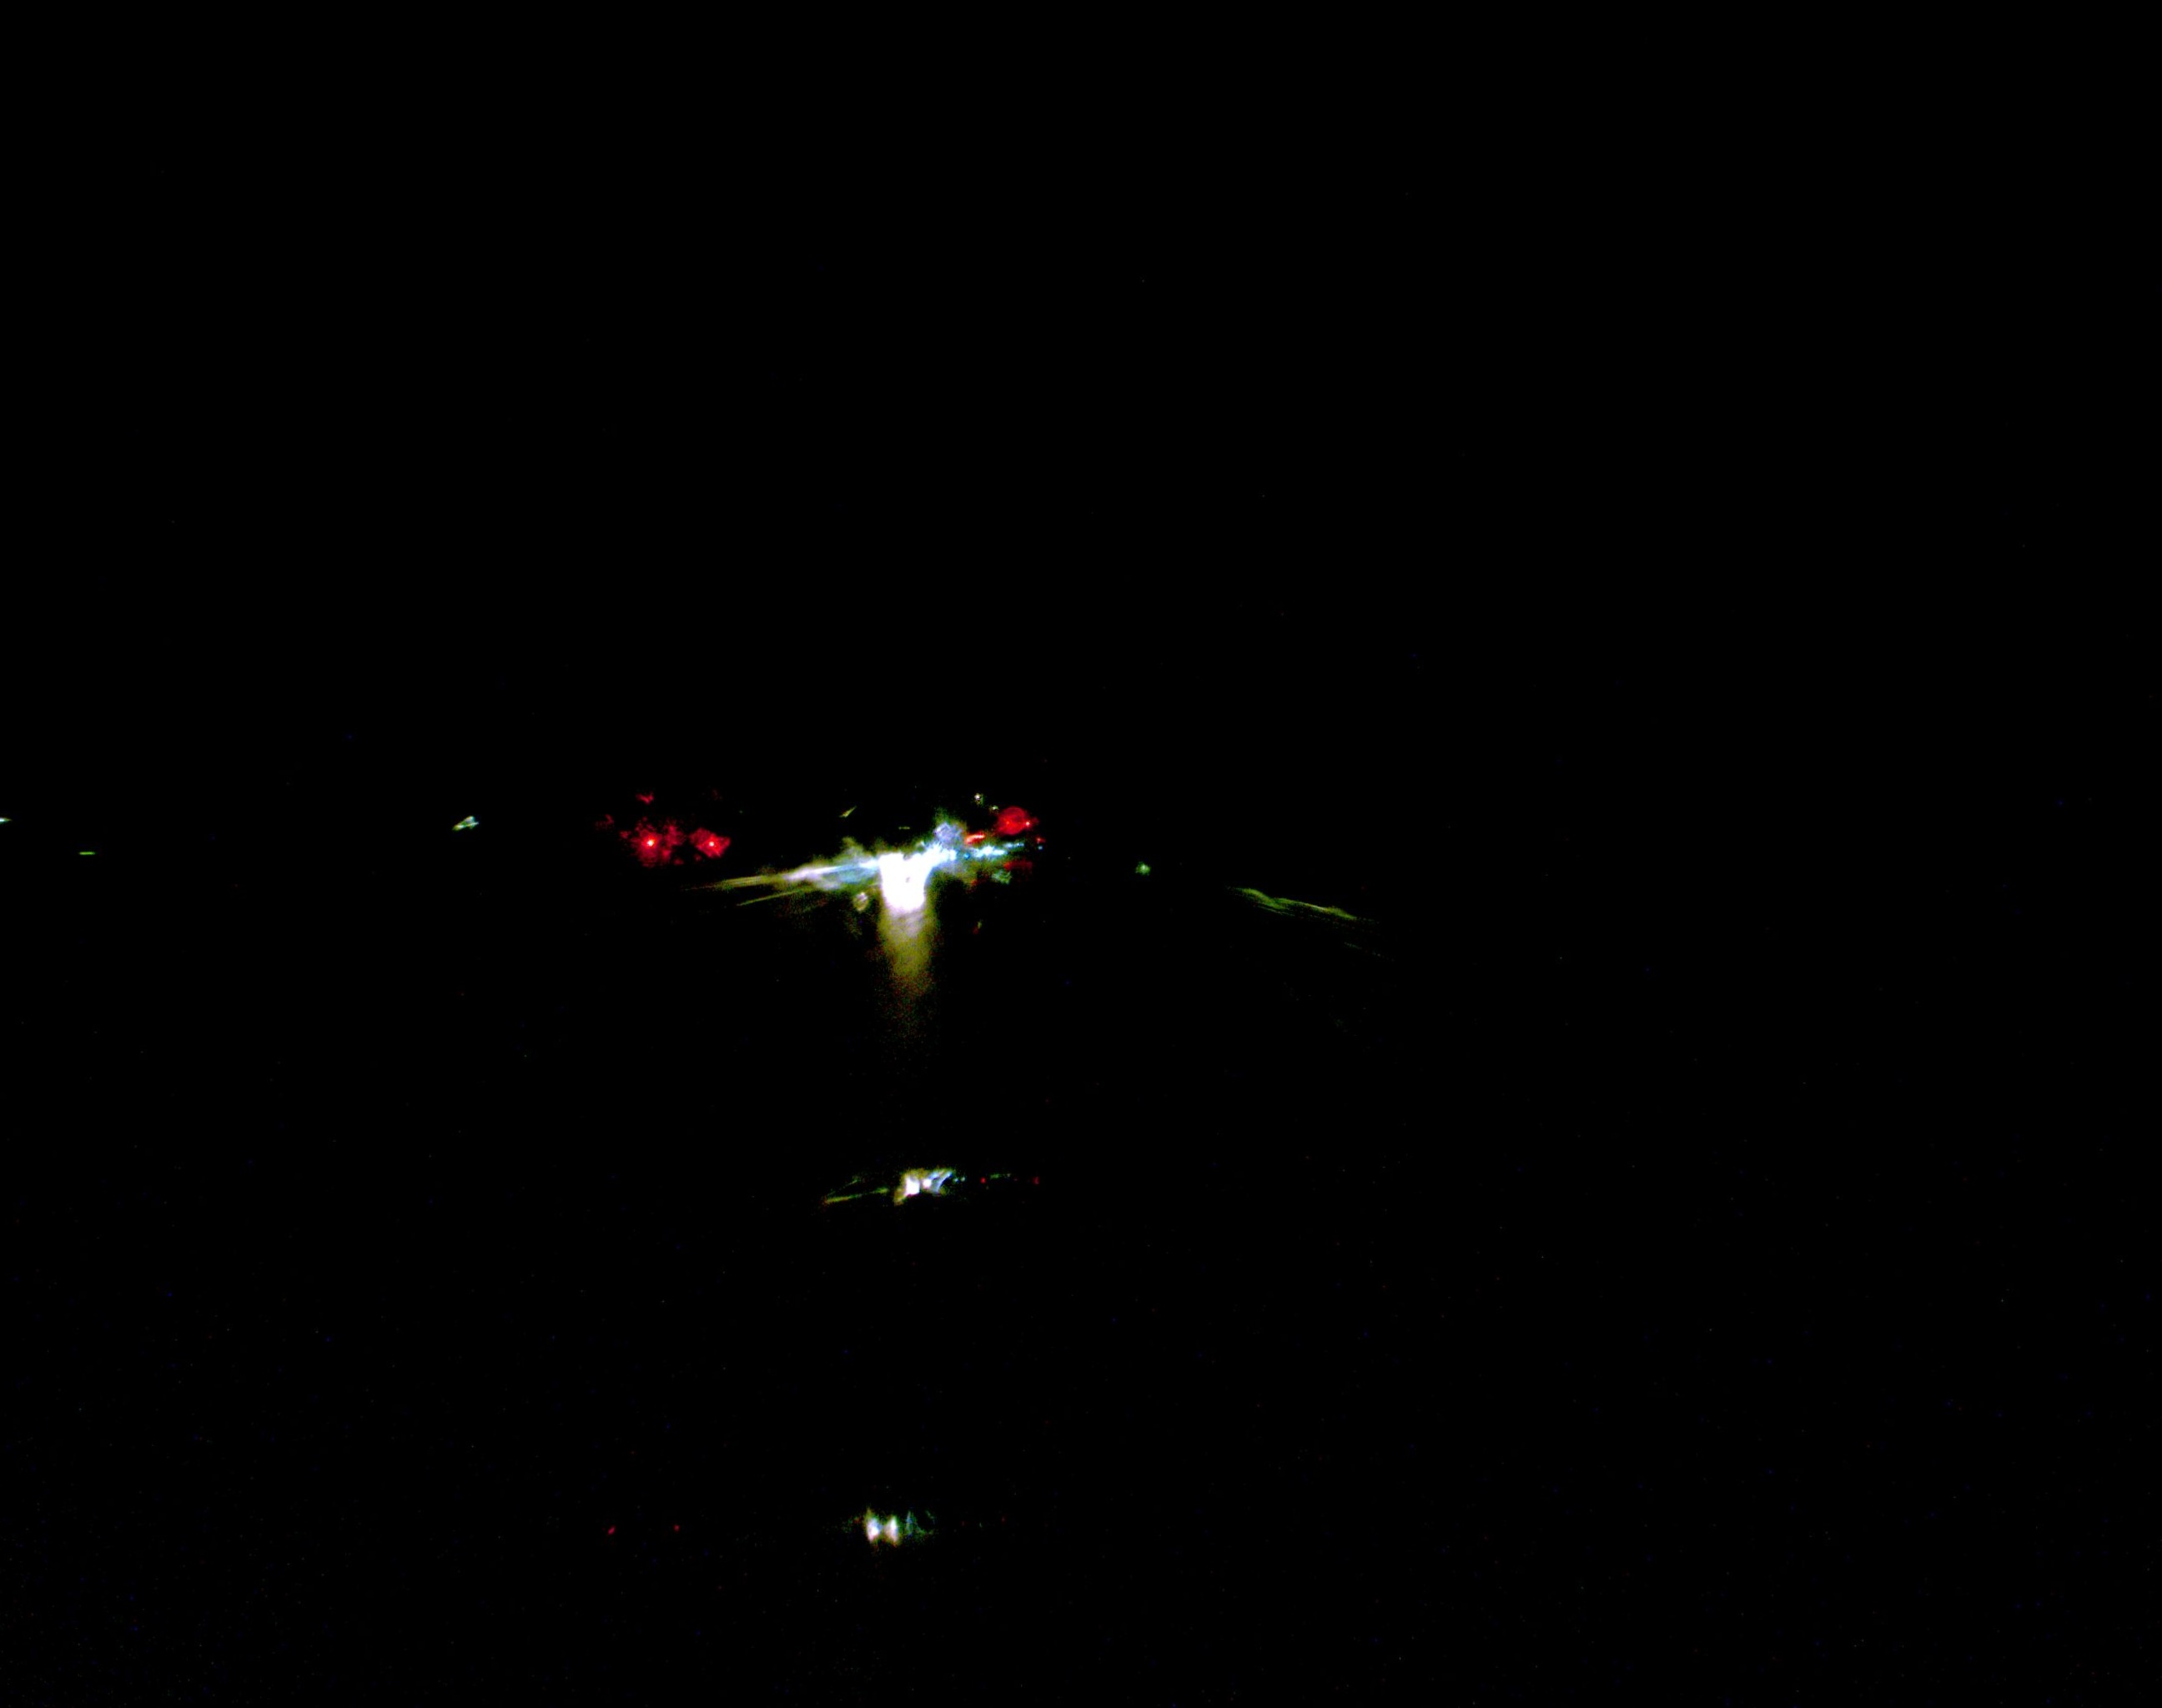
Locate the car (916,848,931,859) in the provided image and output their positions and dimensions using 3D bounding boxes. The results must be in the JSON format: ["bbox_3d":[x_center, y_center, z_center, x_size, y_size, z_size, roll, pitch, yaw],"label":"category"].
[{"bbox_3d":[-20.405,-0.069,105.417,1.833,1.442,4.473,0,0,-11],"label":"car"}]

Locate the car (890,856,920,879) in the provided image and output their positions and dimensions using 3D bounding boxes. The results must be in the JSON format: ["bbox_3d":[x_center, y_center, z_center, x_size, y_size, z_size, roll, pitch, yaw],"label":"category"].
[{"bbox_3d":[-12.852,0.979,59.665,1.880,1.600,3.889,0,0,-8],"label":"car"}]
